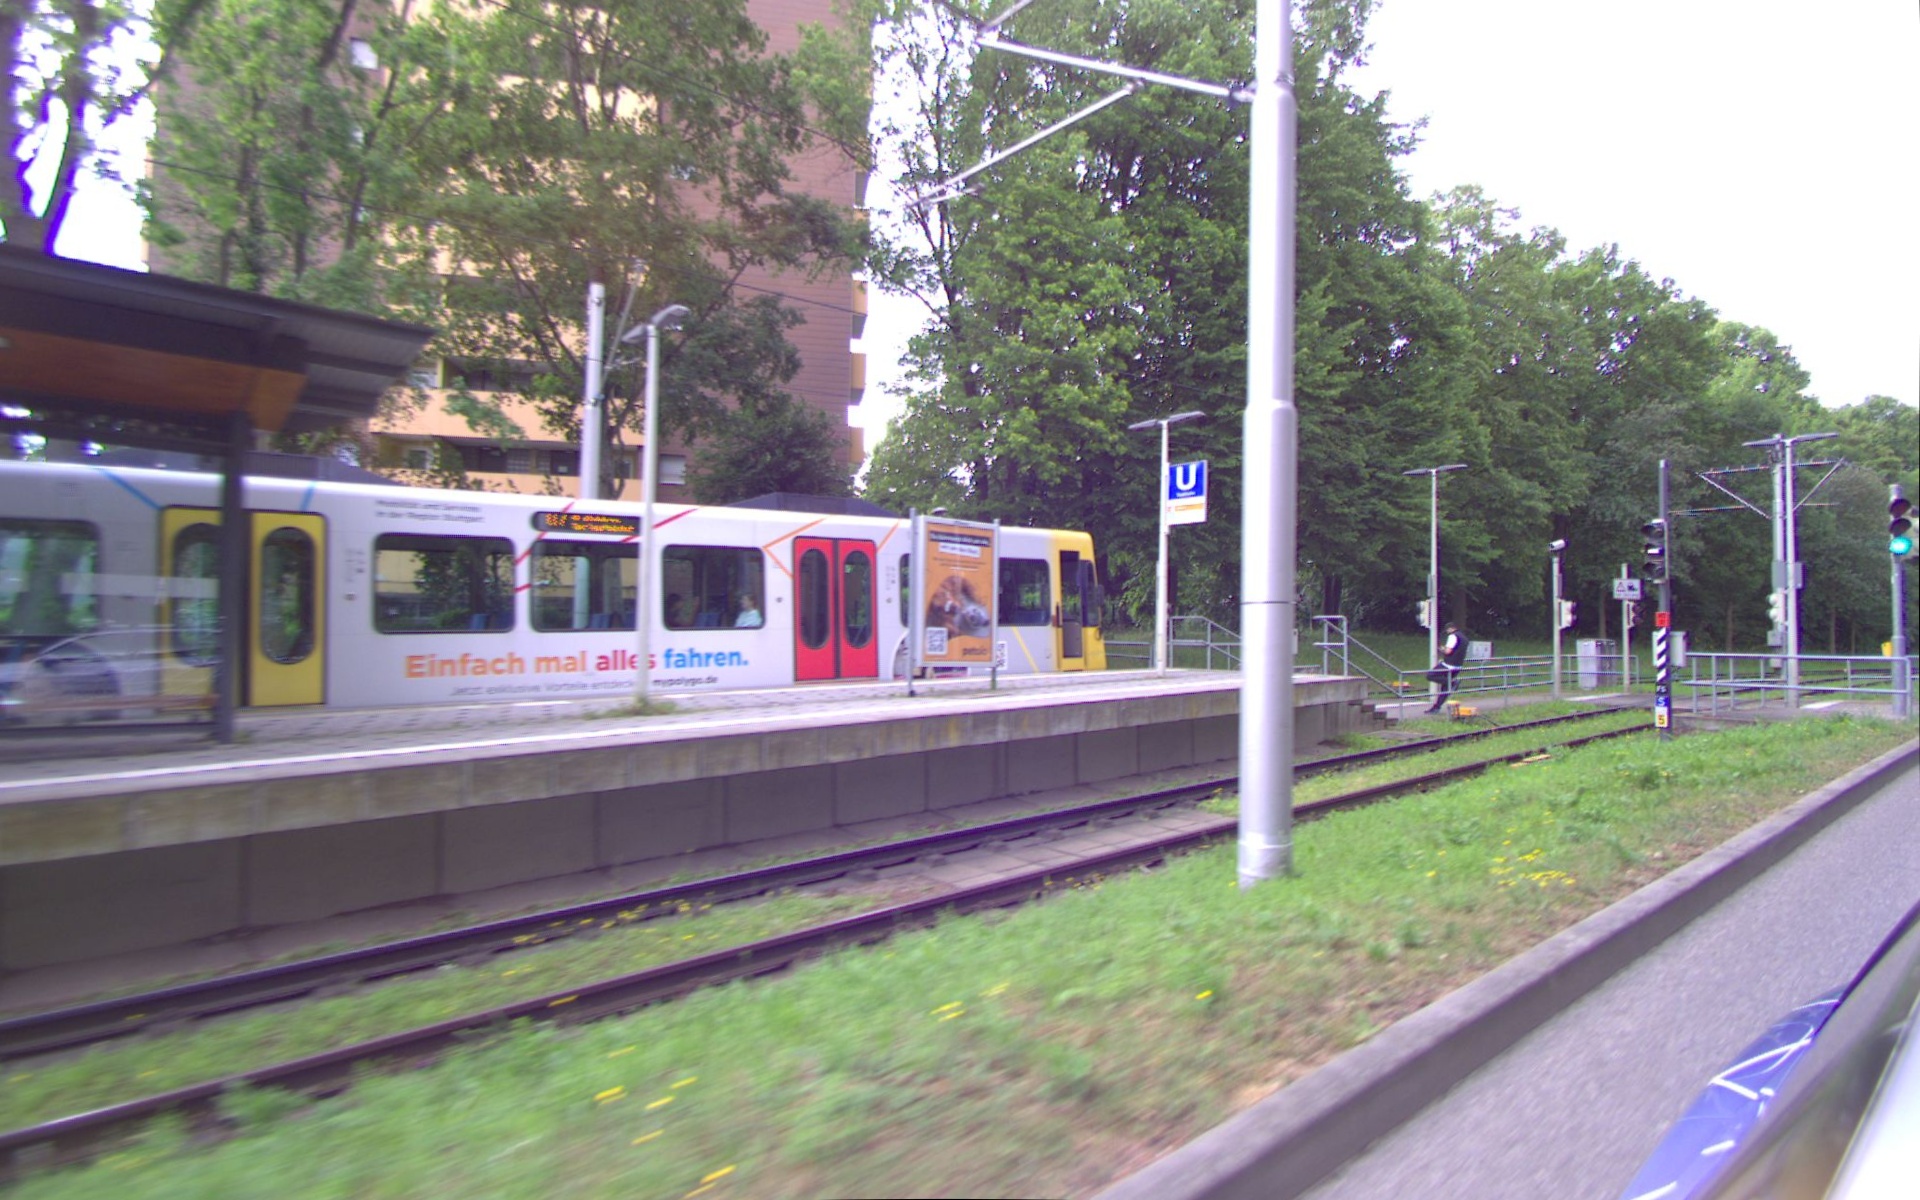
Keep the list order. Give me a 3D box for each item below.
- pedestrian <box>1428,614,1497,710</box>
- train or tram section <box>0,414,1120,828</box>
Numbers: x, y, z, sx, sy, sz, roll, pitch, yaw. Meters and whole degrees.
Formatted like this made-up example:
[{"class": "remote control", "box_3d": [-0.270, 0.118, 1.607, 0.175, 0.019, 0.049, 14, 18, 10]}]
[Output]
[{"class": "pedestrian", "box_3d": [9.625, 1.177, 19.391, 0.983, 1.781, 0.718, -3, -4, 43]}, {"class": "train or tram section", "box_3d": [-5.212, 0.259, 13.806, 18.189, 3.785, 2.820, 0, -3, -38]}]
